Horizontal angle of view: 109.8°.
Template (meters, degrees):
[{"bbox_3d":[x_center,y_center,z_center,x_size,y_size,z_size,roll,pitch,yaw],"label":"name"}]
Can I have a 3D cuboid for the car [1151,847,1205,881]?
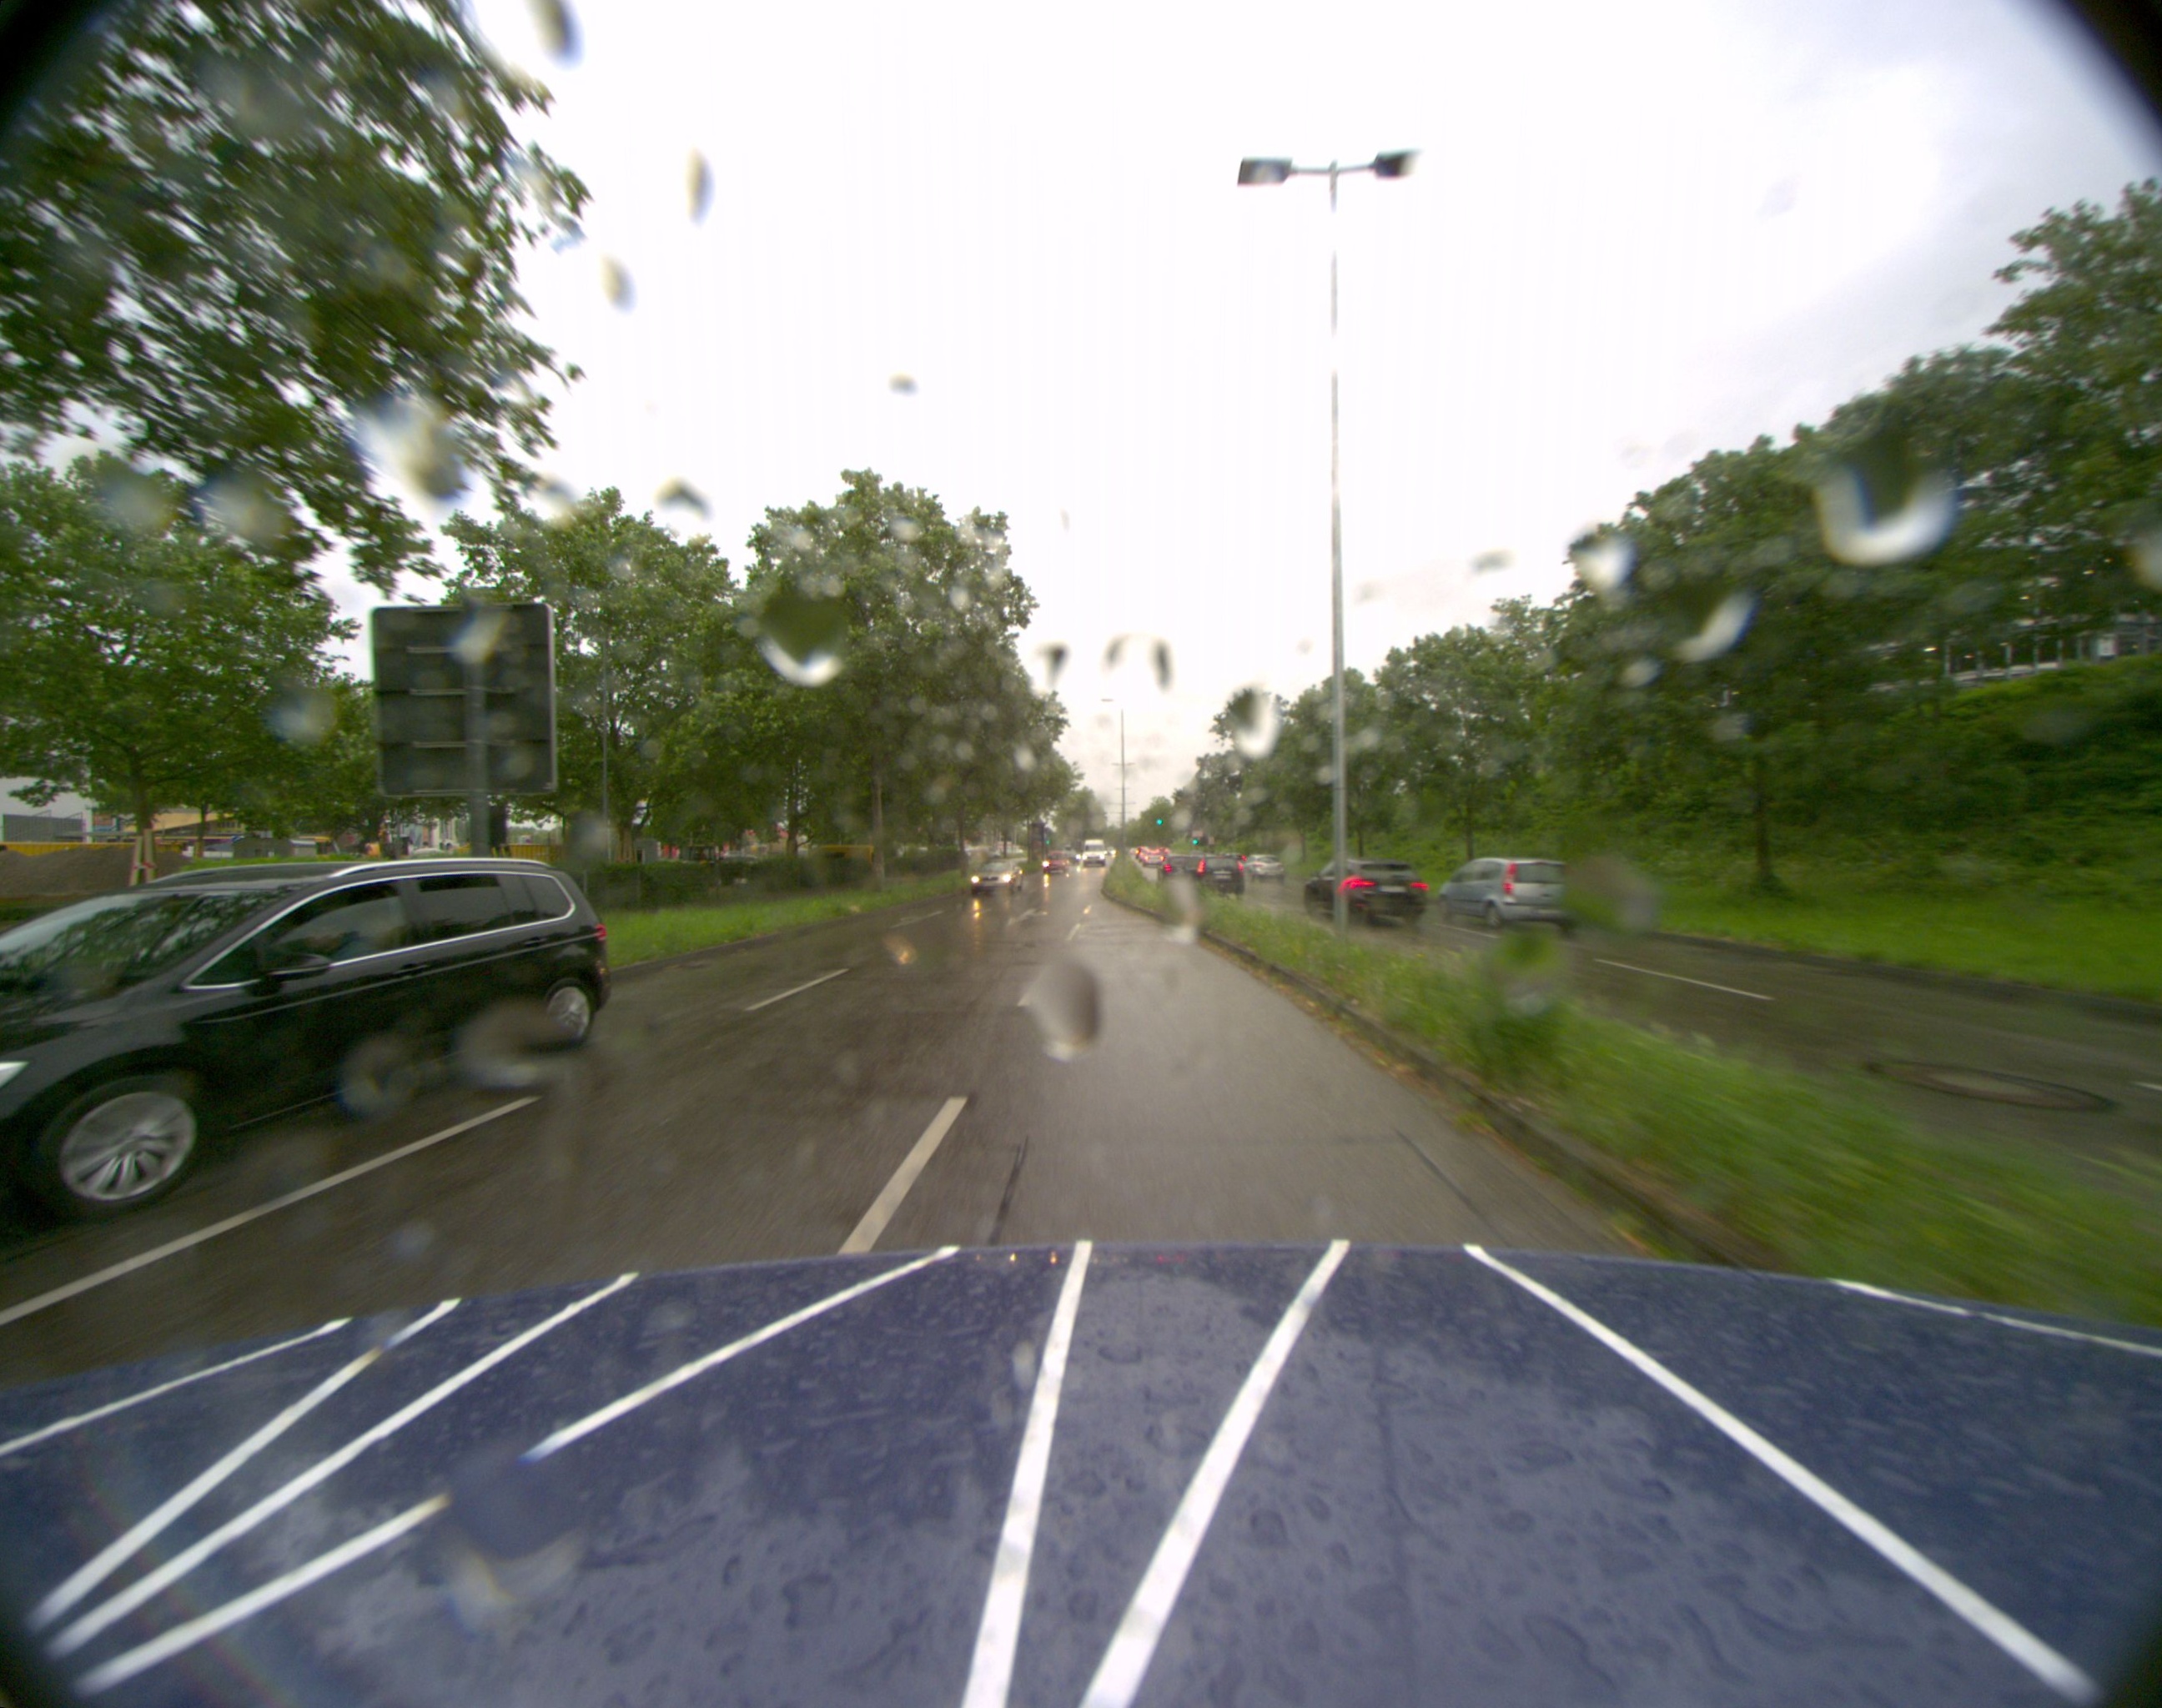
[{"bbox_3d":[4.792,0.470,38.357,1.914,1.565,4.707,1,1,-2],"label":"car"}]

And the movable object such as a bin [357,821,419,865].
[{"bbox_3d":[-60.077,-0.963,65.896,3.602,3.605,3.326,1,2,38],"label":"movable object such as a bin"}]

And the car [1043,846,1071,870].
[{"bbox_3d":[-1.809,0.246,58.887,1.699,1.759,4.558,-1,1,4],"label":"car"}]

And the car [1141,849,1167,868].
[{"bbox_3d":[6.540,0.402,68.542,1.913,1.565,4.708,1,1,0],"label":"car"}]

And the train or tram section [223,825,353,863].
[{"bbox_3d":[-78.054,-1.048,75.096,8.384,3.500,2.394,-3,3,-35],"label":"train or tram section"}]

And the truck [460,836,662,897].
[{"bbox_3d":[-30.514,0.604,45.212,9.516,3.015,3.073,-3,3,-32],"label":"truck"}]

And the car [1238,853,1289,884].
[{"bbox_3d":[10.097,0.758,42.330,1.913,1.565,4.709,2,1,4],"label":"car"}]

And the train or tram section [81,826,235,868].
[{"bbox_3d":[-84.974,-0.685,70.258,8.545,3.500,2.394,-3,3,-35],"label":"train or tram section"}]

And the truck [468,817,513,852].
[{"bbox_3d":[-59.592,-1.974,76.865,2.500,3.327,9.445,-3,3,-32],"label":"truck"}]

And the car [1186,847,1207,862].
[{"bbox_3d":[13.152,0.048,86.785,1.998,1.678,4.709,1,1,4],"label":"car"}]

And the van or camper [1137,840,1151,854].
[{"bbox_3d":[8.640,-0.977,104.955,1.732,1.732,4.000,2,1,2],"label":"van or camper"}]

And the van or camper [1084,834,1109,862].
[{"bbox_3d":[1.530,-0.593,72.427,2.099,2.580,4.776,-2,1,4],"label":"van or camper"}]

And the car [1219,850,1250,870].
[{"bbox_3d":[12.107,0.456,60.262,1.839,1.493,4.440,1,1,4],"label":"car"}]

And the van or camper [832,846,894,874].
[{"bbox_3d":[-16.049,0.433,55.999,3.997,1.896,1.802,-2,1,-1],"label":"van or camper"}]

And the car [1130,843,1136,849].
[{"bbox_3d":[14.680,-2.362,214.879,1.780,1.552,3.774,-2,1,4],"label":"car"}]

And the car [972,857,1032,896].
[{"bbox_3d":[-3.277,0.910,32.367,1.806,1.422,4.387,-1,1,4],"label":"car"}]

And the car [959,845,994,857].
[{"bbox_3d":[-14.784,-0.401,107.338,4.469,1.663,1.863,-1,1,-35],"label":"car"}]

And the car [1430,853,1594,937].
[{"bbox_3d":[9.428,0.820,16.979,1.699,1.608,3.848,-1,1,4],"label":"car"}]

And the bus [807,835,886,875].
[{"bbox_3d":[-16.461,0.063,53.424,4.803,2.632,2.000,-1,1,4],"label":"bus"}]

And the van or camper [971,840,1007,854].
[{"bbox_3d":[-13.604,-1.031,112.326,4.917,2.076,1.863,-1,1,-35],"label":"van or camper"}]

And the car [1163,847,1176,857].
[{"bbox_3d":[15.555,-0.357,133.204,1.998,1.678,4.709,1,1,4],"label":"car"}]

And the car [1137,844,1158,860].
[{"bbox_3d":[7.454,-0.264,85.770,1.903,1.604,4.110,2,1,-1],"label":"car"}]

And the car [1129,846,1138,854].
[{"bbox_3d":[11.575,-0.945,167.190,1.998,1.678,4.709,1,1,4],"label":"car"}]

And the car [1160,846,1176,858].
[{"bbox_3d":[12.715,-0.298,110.867,1.998,1.678,4.709,1,1,4],"label":"car"}]

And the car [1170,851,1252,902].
[{"bbox_3d":[4.497,0.736,26.982,1.829,1.566,4.357,2,1,-4],"label":"car"}]

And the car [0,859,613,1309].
[{"bbox_3d":[-5.204,0.961,4.676,1.861,1.716,4.190,-2,1,2],"label":"car"}]

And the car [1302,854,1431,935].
[{"bbox_3d":[6.456,0.829,17.683,1.724,1.608,4.347,0,1,5],"label":"car"}]

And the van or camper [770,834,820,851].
[{"bbox_3d":[-57.300,-2.367,152.304,8.993,3.140,2.979,-3,3,-32],"label":"van or camper"}]
